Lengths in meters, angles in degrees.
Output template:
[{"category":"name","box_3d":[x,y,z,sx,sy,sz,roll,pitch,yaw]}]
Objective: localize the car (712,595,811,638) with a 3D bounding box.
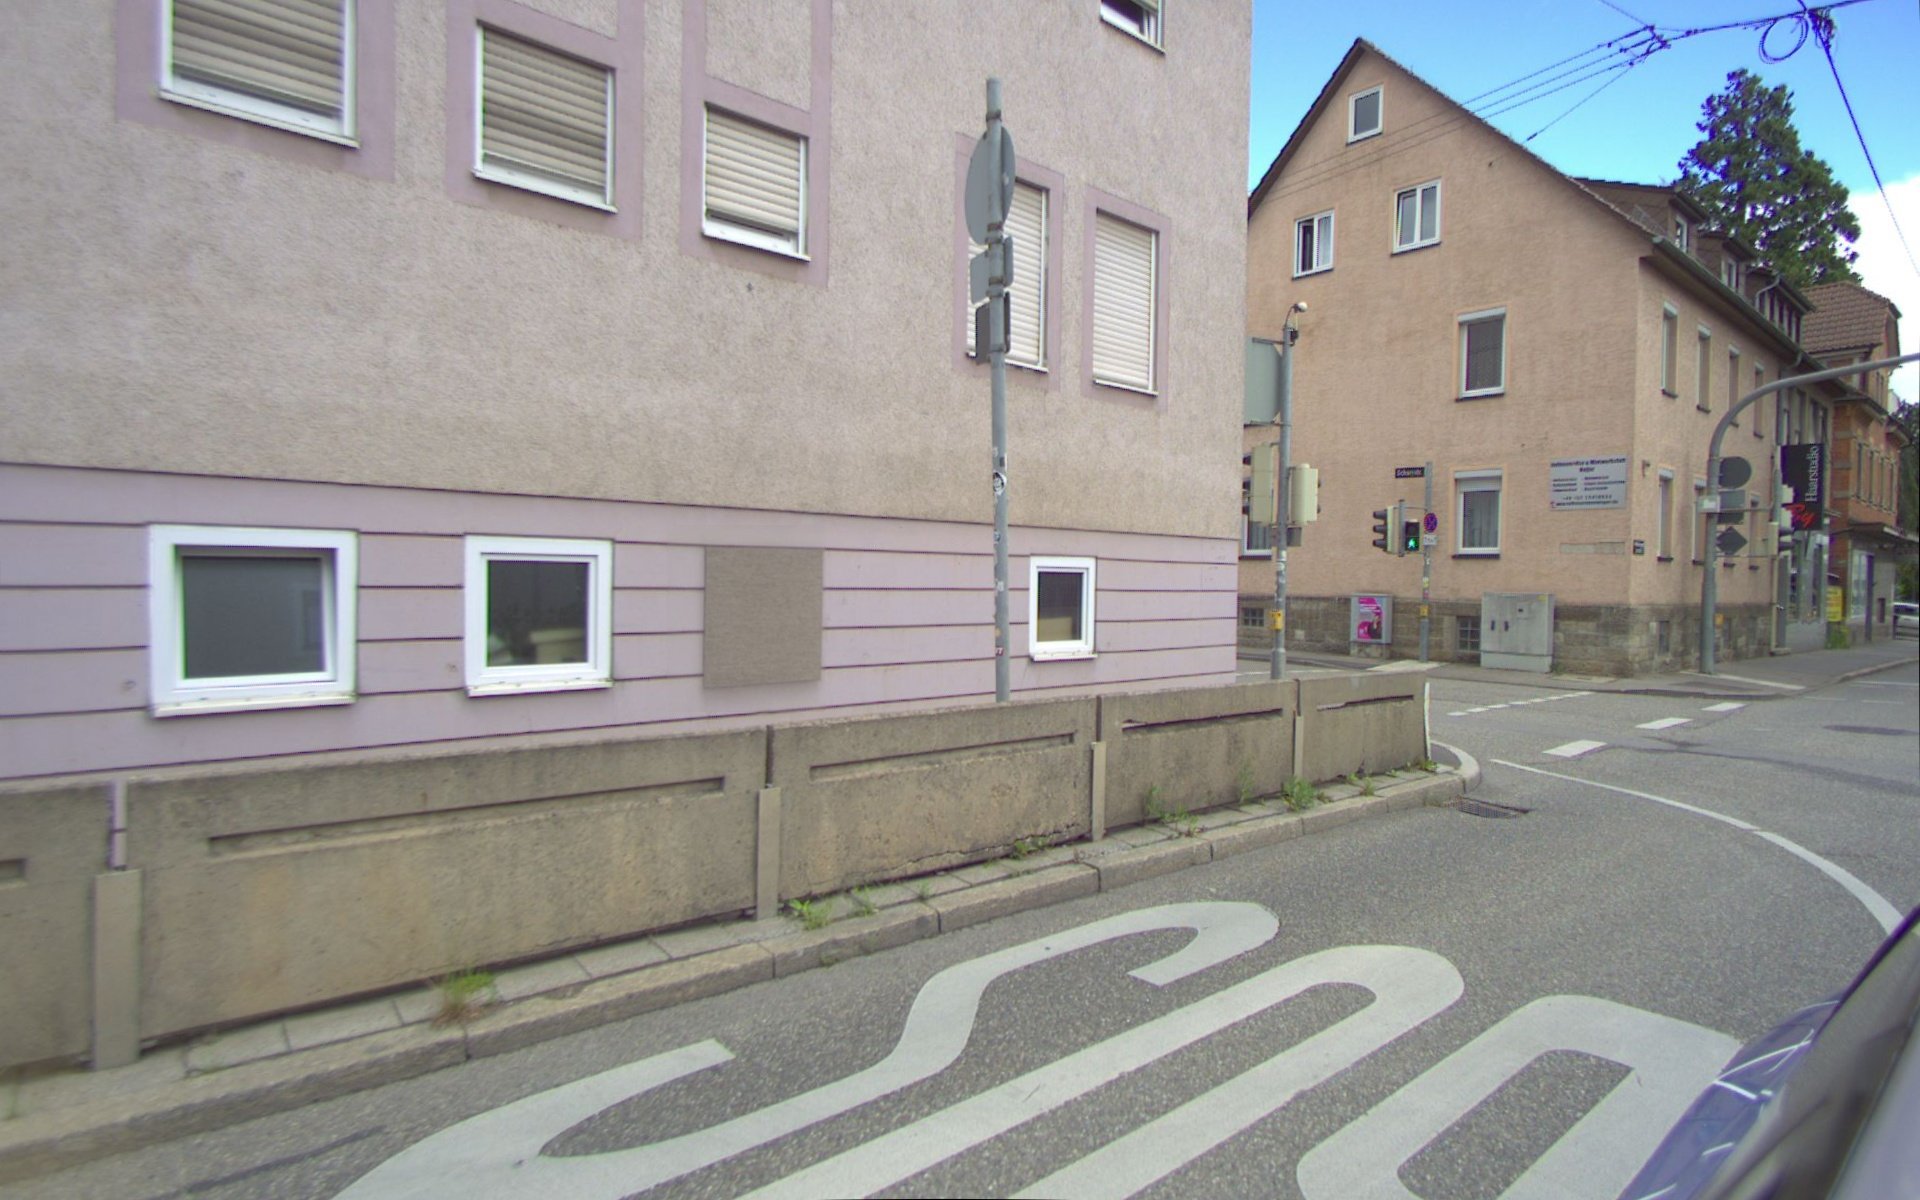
[{"category":"car","box_3d":[-6.917,0.525,34.970,1.696,1.386,3.995,0,0,-39]}]

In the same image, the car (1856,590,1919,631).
[{"category":"car","box_3d":[39.061,0.503,40.917,1.574,1.487,4.037,0,6,-42]}]

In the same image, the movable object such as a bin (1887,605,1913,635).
[{"category":"movable object such as a bin","box_3d":[36.278,0.759,39.053,0.611,1.114,0.608,0,3,-40]}]
